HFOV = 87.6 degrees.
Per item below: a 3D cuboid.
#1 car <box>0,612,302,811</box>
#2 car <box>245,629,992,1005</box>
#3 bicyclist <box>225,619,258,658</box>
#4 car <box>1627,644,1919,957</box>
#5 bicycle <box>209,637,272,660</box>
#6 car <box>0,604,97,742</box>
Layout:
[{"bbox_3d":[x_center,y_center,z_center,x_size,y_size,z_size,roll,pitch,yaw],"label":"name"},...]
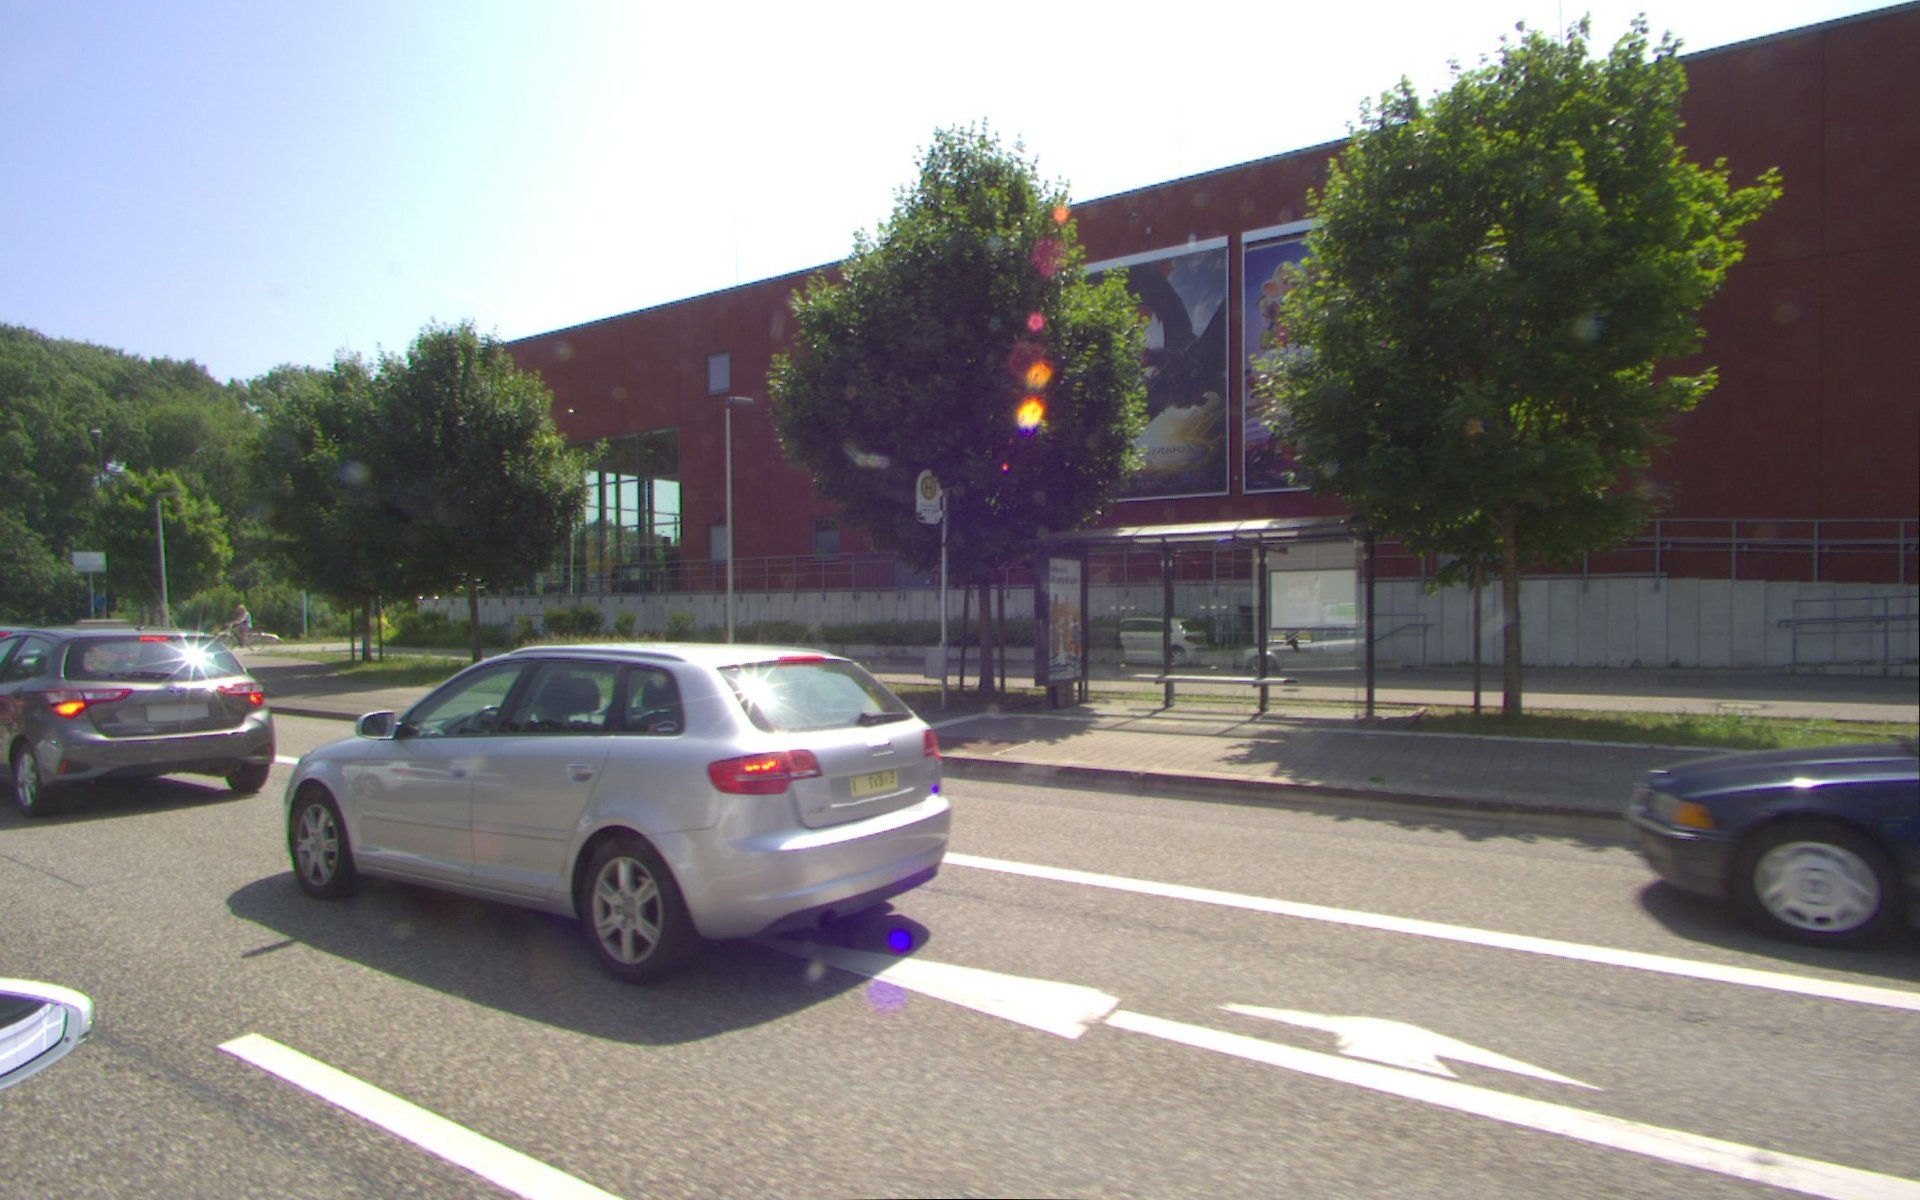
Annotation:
[{"bbox_3d":[-8.128,0.912,9.342,4.031,1.496,1.711,-1,-4,31],"label":"car"},{"bbox_3d":[-1.996,0.873,5.530,4.031,1.379,1.710,-1,-2,31],"label":"car"},{"bbox_3d":[-27.085,1.449,37.772,0.590,1.458,0.825,0,1,30],"label":"bicyclist"},{"bbox_3d":[5.590,0.937,4.668,4.087,1.388,1.635,0,-2,33],"label":"car"},{"bbox_3d":[-27.098,1.809,37.733,0.592,0.776,1.818,0,0,31],"label":"bicycle"},{"bbox_3d":[-12.927,0.873,12.805,4.031,1.614,1.709,-1,-1,31],"label":"car"}]
